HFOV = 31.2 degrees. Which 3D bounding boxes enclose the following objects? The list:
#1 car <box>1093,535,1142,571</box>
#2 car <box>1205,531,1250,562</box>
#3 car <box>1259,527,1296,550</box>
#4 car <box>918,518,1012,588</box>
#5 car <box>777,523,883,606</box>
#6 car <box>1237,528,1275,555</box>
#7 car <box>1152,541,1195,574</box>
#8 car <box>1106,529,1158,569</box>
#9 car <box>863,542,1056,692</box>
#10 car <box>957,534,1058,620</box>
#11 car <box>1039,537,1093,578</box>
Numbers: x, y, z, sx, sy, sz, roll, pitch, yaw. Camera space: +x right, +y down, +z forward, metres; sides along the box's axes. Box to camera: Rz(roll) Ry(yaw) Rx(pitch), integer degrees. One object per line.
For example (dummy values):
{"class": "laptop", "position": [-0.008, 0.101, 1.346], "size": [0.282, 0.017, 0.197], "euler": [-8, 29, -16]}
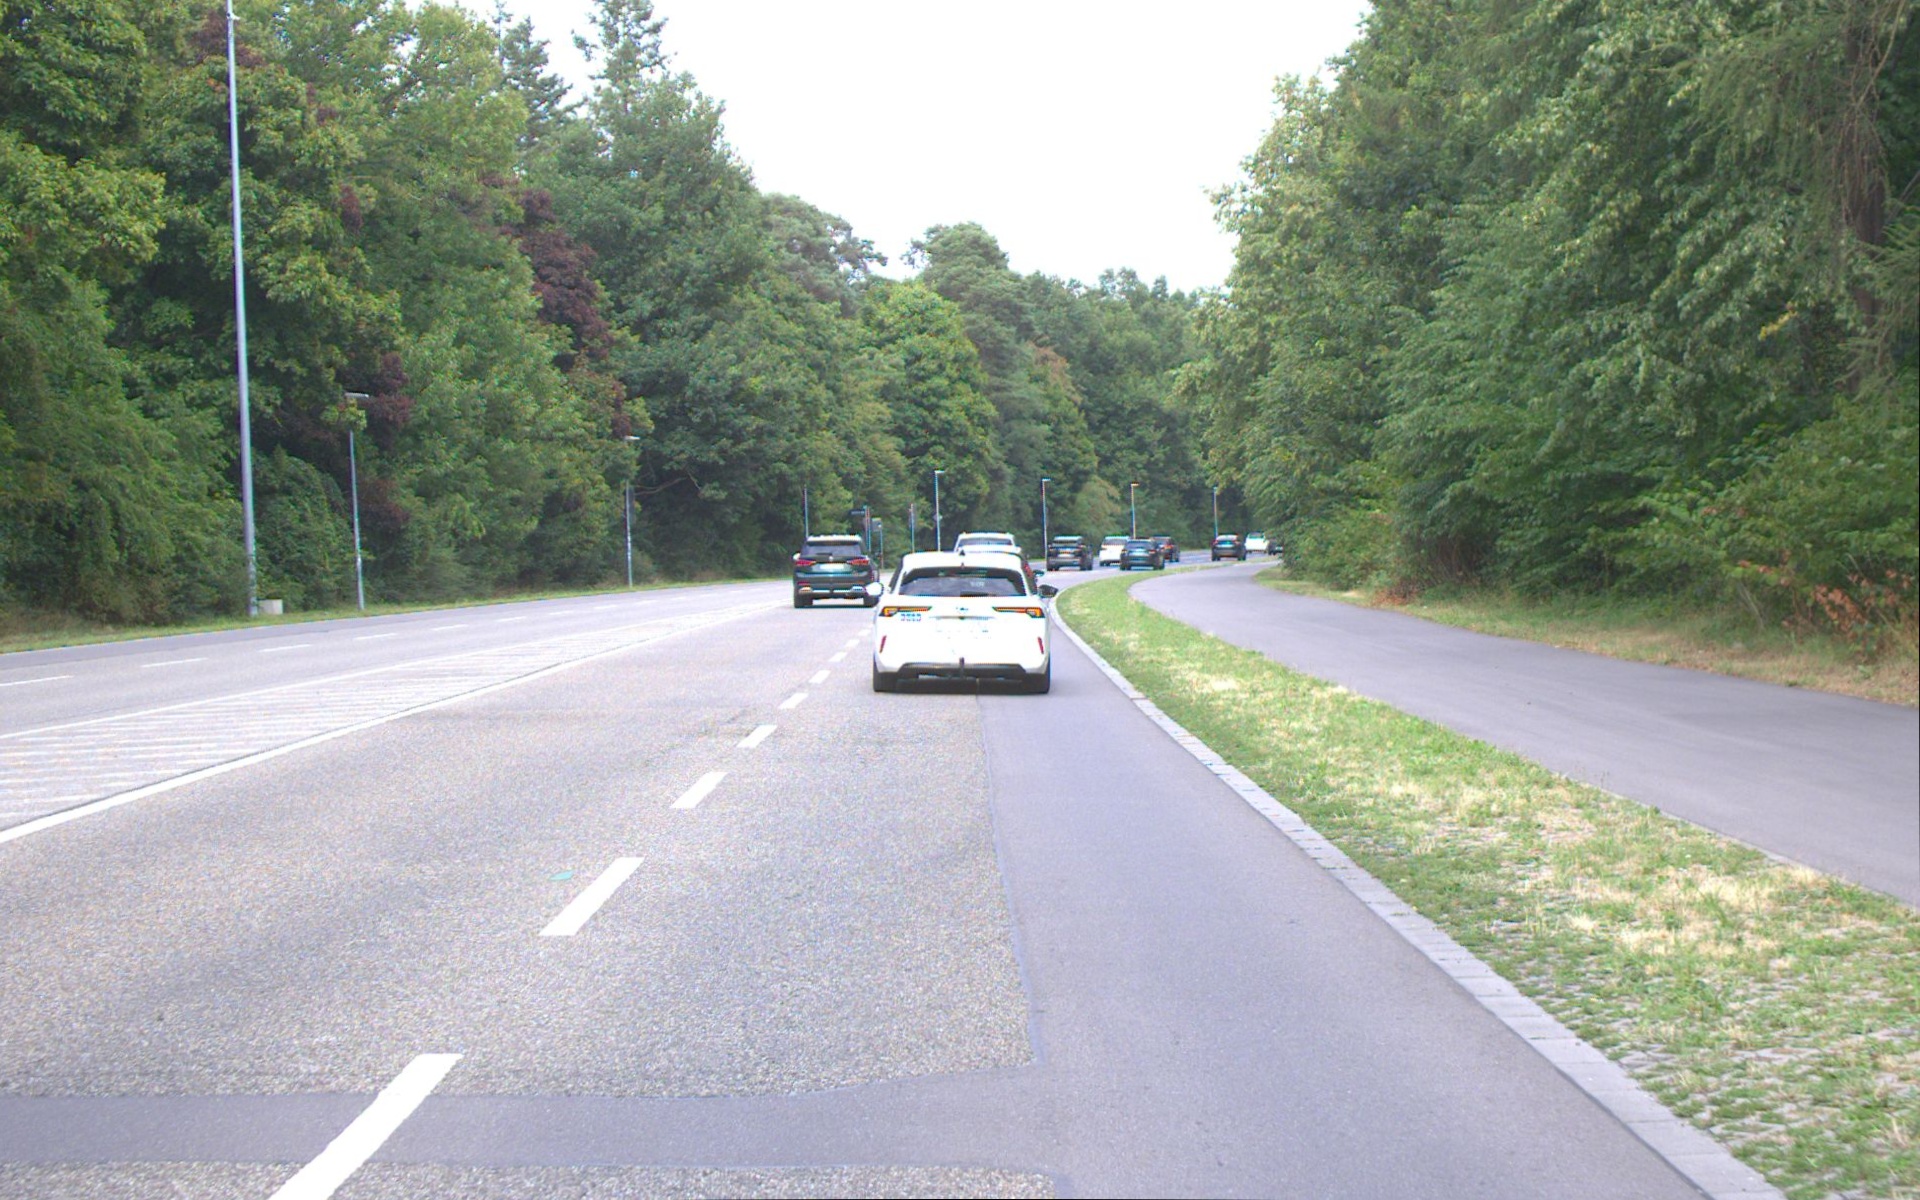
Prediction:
{"class": "car", "position": [8.303, -2.451, 180.704], "size": [1.994, 1.777, 3.998], "euler": [2, 0, 11]}
{"class": "car", "position": [16.073, -3.218, 206.517], "size": [1.995, 1.777, 3.997], "euler": [2, 0, 14]}
{"class": "car", "position": [21.497, -4.154, 232.496], "size": [1.995, 1.404, 3.998], "euler": [2, 0, 12]}
{"class": "car", "position": [0.157, -1.175, 84.473], "size": [1.994, 1.601, 4.000], "euler": [2, 2, 4]}
{"class": "car", "position": [-2.922, -0.786, 77.909], "size": [1.994, 1.780, 4.000], "euler": [2, 0, 3]}
{"class": "car", "position": [21.220, -4.170, 246.445], "size": [1.889, 1.809, 3.997], "euler": [2, 0, 16]}
{"class": "car", "position": [12.308, -2.428, 198.098], "size": [1.994, 1.777, 3.998], "euler": [2, 0, 10]}
{"class": "car", "position": [8.095, -2.397, 161.736], "size": [1.994, 1.777, 3.999], "euler": [2, 0, 9]}
{"class": "car", "position": [-0.018, 0.153, 35.631], "size": [1.836, 1.405, 4.491], "euler": [2, 0, 0]}
{"class": "car", "position": [0.867, -0.401, 60.847], "size": [1.635, 1.415, 4.000], "euler": [2, 0, 2]}
{"class": "car", "position": [4.988, -1.980, 160.975], "size": [1.994, 1.777, 3.998], "euler": [2, 0, 9]}
